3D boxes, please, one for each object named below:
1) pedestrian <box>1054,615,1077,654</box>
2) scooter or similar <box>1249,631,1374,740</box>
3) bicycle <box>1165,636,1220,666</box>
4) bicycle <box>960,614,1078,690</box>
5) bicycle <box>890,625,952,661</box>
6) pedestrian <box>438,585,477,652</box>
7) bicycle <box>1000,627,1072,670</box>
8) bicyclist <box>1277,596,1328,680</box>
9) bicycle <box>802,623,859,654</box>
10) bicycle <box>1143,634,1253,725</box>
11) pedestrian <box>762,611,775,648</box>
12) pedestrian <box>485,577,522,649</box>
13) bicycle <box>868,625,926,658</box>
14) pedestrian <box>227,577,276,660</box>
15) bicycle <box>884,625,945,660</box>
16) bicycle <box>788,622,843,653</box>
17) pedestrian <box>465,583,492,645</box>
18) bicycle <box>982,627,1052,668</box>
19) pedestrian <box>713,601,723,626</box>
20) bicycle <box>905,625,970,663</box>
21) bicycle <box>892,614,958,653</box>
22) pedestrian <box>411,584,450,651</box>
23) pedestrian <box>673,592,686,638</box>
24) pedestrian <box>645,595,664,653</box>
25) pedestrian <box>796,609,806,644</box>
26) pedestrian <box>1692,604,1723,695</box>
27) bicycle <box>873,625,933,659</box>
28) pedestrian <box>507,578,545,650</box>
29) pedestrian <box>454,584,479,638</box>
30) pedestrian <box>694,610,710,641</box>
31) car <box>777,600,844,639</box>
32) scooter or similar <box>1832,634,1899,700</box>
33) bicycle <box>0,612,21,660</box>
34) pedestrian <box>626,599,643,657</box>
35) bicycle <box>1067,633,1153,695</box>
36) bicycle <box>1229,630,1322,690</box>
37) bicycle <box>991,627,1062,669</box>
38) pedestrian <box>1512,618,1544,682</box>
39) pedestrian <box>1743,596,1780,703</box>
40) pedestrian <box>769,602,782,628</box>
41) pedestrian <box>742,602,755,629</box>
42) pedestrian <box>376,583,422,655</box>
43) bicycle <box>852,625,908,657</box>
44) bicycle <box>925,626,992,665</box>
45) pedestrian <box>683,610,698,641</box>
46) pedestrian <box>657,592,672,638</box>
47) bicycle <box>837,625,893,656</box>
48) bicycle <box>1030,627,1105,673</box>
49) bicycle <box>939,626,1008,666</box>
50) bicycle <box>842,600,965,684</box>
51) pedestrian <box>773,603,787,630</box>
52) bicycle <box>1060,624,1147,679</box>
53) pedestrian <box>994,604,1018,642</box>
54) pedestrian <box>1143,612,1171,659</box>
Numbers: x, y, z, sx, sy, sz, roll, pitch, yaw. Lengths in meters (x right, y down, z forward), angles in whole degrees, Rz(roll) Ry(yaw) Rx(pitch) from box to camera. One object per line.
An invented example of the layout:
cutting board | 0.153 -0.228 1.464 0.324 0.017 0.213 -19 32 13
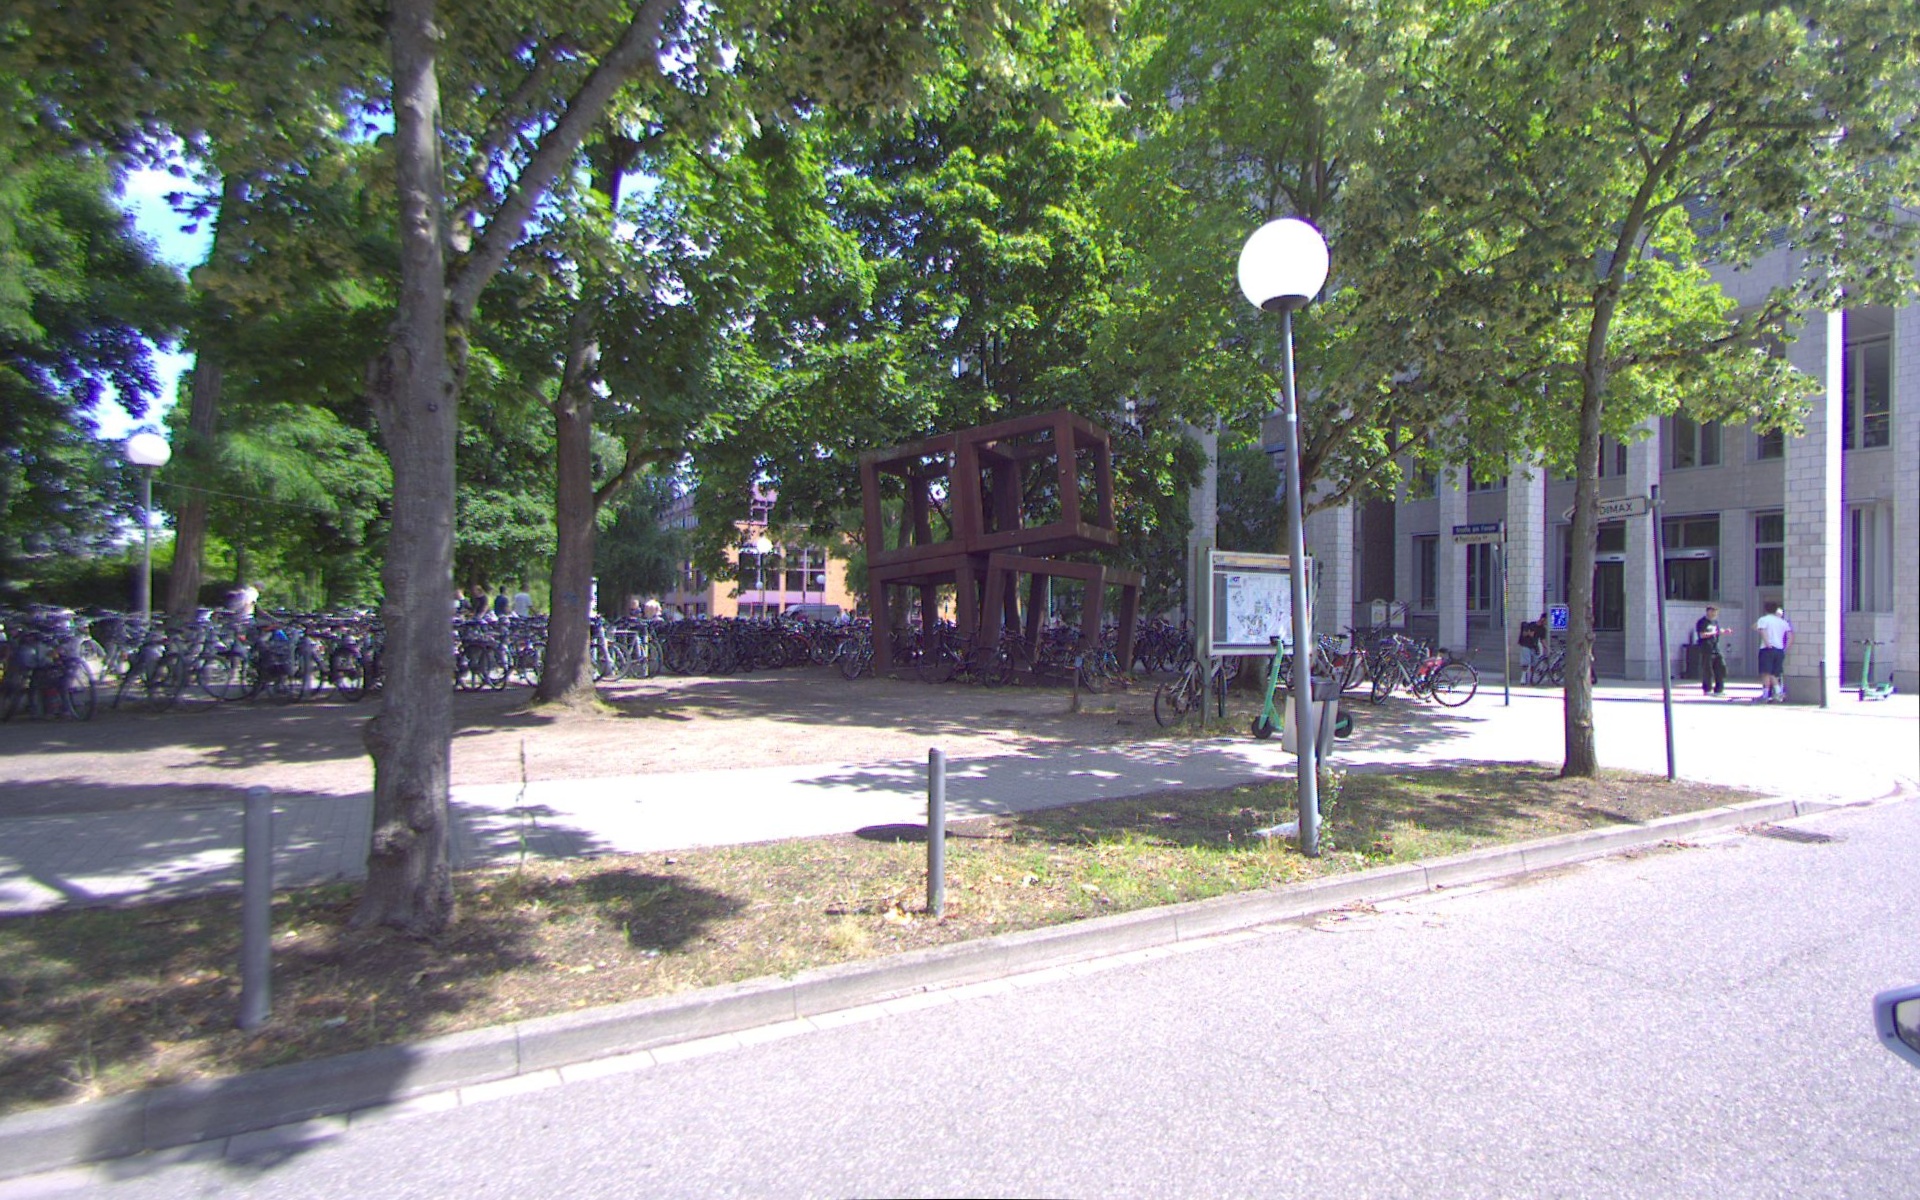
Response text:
pedestrian | 4.461 1.448 42.561 0.776 1.625 0.597 1 0 -28
scooter or similar | 4.037 0.976 11.578 1.301 1.191 0.340 1 0 5
bicycle | 7.725 1.689 33.373 1.971 0.959 0.522 1 -1 -31
bicycle | 1.003 0.880 17.394 1.984 1.270 0.586 -1 -1 28
bicycle | -1.254 1.379 32.287 1.950 1.101 0.549 1 1 -30
pedestrian | -12.911 0.467 25.806 0.545 1.693 0.693 1 0 25
bicycle | 2.047 1.293 26.926 1.950 1.101 0.549 1 1 -30
bicyclist | 8.521 0.939 24.993 0.863 2.040 0.846 1 0 -19
bicycle | -4.730 1.410 36.780 1.950 1.101 0.614 1 1 -30
bicycle | 2.965 0.951 12.409 1.802 1.039 0.378 2 -1 -43
pedestrian | -10.548 1.611 55.403 0.644 2.040 0.444 1 0 -15
pedestrian | -12.761 0.357 28.086 0.610 1.960 0.681 1 0 25
bicycle | -2.167 1.438 34.653 1.950 1.101 0.549 1 1 -30
pedestrian | -14.803 0.385 20.989 0.567 1.693 0.630 1 0 25
bicycle | -1.482 1.396 32.931 1.950 1.101 0.549 1 1 -30
bicycle | -5.423 1.413 37.664 1.950 1.101 0.614 1 1 -30
pedestrian | -13.768 0.391 28.730 0.405 1.736 0.544 1 0 29
bicycle | 1.614 1.326 28.192 1.950 1.101 0.549 1 1 -30
pedestrian | -15.886 0.875 65.867 0.489 1.627 0.585 1 0 -25
bicycle | -0.684 1.343 30.809 1.950 1.101 0.549 1 1 -30
bicycle | -1.074 1.040 31.407 2.067 1.137 0.547 -1 2 -31
pedestrian | -13.649 0.452 25.893 0.545 1.693 0.703 1 0 25
pedestrian | -12.499 0.670 44.711 0.511 2.040 0.532 1 0 -15
pedestrian | -10.889 0.852 35.828 0.583 2.040 0.532 1 0 -15
pedestrian | -9.400 1.547 59.306 0.457 2.040 0.611 1 0 3
pedestrian | 15.057 0.980 20.242 0.434 1.799 0.450 1 0 30
bicycle | -1.911 1.414 33.791 1.950 1.101 0.549 1 1 -30
pedestrian | -11.996 0.383 27.772 0.635 1.960 0.696 1 0 25
pedestrian | -14.257 0.323 29.044 0.402 1.547 0.486 1 0 29
pedestrian | -13.895 1.368 54.044 0.751 1.617 0.391 1 -1 -31
car | -11.205 1.475 75.346 4.583 2.813 1.980 1 0 -36
scooter or similar | 17.682 1.297 19.609 1.528 1.240 0.453 1 -1 -27
bicycle | -19.437 0.718 20.348 1.741 0.906 0.417 1 0 41
pedestrian | -11.560 0.979 35.655 0.511 2.040 0.532 1 0 -15
bicycle | 2.534 1.050 16.868 1.644 0.978 0.471 1 -1 -42
bicycle | 6.186 1.163 19.660 1.950 1.101 0.549 1 1 -30
bicycle | 1.844 1.310 27.571 1.950 1.101 0.549 1 1 -30
pedestrian | 12.773 1.114 22.596 0.440 1.402 0.462 -3 1 -40
pedestrian | 15.046 0.917 18.863 0.406 1.968 0.662 1 0 31
pedestrian | -11.407 0.934 62.186 0.595 1.627 0.627 1 0 -30
pedestrian | -12.984 0.944 61.799 0.595 1.627 0.627 1 0 -30
pedestrian | -13.524 0.452 24.236 0.620 1.693 0.730 1 0 25
bicycle | -2.857 1.460 35.885 1.950 1.101 0.549 1 1 -30
bicycle | -0.028 1.322 29.648 1.950 1.101 0.549 1 1 -30
pedestrian | -17.709 1.659 66.036 0.806 2.040 0.874 1 0 -24
pedestrian | -13.226 0.662 44.943 0.566 2.040 0.532 1 0 -15
bicycle | -3.446 1.458 36.394 1.950 1.101 0.549 1 1 -30
bicycle | 2.758 1.268 25.628 1.950 1.101 0.549 1 1 -30
bicycle | 0.400 1.309 28.920 1.950 1.101 0.549 1 1 -30
bicycle | -1.053 0.750 18.503 2.248 1.469 0.606 1 0 28
pedestrian | -11.305 1.039 63.224 0.627 1.627 0.595 1 0 -40
bicycle | 2.899 1.026 20.218 1.828 1.046 0.473 1 -1 -30
pedestrian | 1.962 0.979 42.855 0.714 1.561 0.696 1 0 -41
pedestrian | 6.965 1.250 35.521 0.590 1.614 0.824 1 -1 -28
